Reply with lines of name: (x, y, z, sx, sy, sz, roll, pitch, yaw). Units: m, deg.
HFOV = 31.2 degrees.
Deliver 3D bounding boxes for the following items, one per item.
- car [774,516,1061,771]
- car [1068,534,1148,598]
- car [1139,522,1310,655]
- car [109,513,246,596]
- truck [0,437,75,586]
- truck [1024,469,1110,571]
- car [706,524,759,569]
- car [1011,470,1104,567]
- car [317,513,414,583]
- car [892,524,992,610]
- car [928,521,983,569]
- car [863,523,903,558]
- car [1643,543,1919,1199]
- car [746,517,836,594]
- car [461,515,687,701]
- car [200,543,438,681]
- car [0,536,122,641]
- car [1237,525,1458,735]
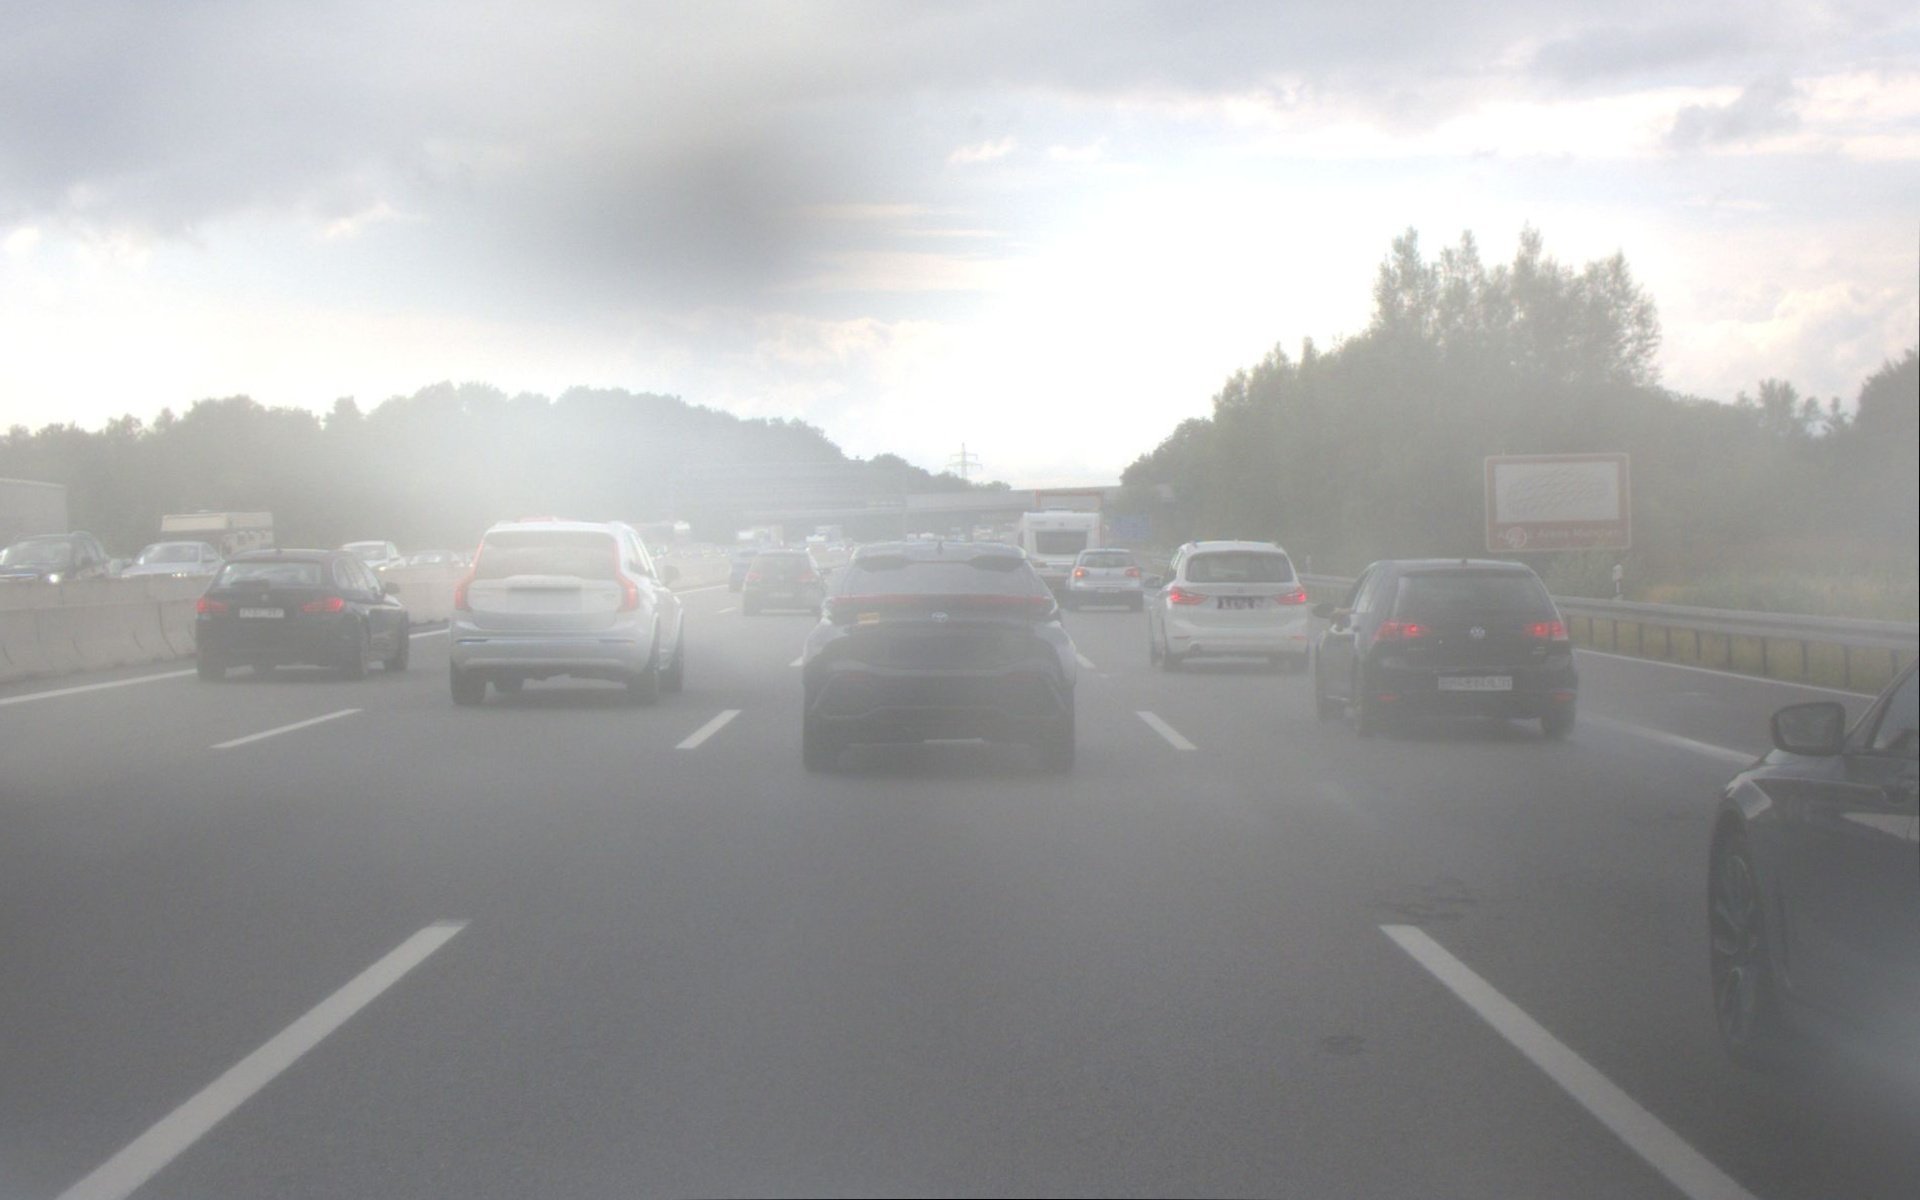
car: (-0.392, 0.227, 24.001, 1.780, 1.607, 4.599, 0, 1, -3)
car: (3.480, -0.824, 81.428, 1.795, 1.472, 4.038, 0, 1, 1)
car: (3.283, -0.186, 43.486, 1.810, 1.593, 4.696, 0, 1, 0)
car: (-18.153, -1.089, 79.951, 1.993, 1.846, 5.078, 0, 2, 0)
truck: (-29.278, -2.585, 100.646, 3.148, 4.298, 13.952, 0, 1, 0)
truck: (3.993, -3.031, 130.586, 3.133, 3.697, 9.848, 0, 1, 1)
car: (-7.613, -1.800, 115.335, 1.563, 1.472, 3.920, 0, 1, -1)
car: (2.948, -2.488, 105.462, 2.567, 2.885, 7.534, 0, 1, 0)
car: (-17.363, -1.539, 100.567, 1.993, 2.007, 4.764, 0, 1, 0)
car: (-0.392, -0.692, 69.401, 1.881, 1.680, 4.001, 0, 1, -2)
car: (-0.174, -1.954, 121.864, 1.881, 1.680, 4.000, 0, 1, -1)
car: (-3.703, -2.875, 165.014, 1.881, 1.680, 4.000, 0, 1, -1)
car: (3.059, 0.624, 7.953, 1.939, 1.486, 4.776, 0, 1, -1)
car: (-3.759, -1.019, 76.975, 1.881, 1.680, 4.000, 0, 1, -1)
car: (-3.725, 0.023, 33.811, 1.781, 1.710, 4.353, 0, 1, -1)
car: (-7.328, 0.092, 39.689, 1.781, 1.476, 4.353, 0, 1, 2)
car: (-17.437, -0.251, 64.888, 1.993, 1.891, 5.187, 0, 1, 0)
car: (3.234, 0.183, 28.979, 1.707, 1.625, 4.456, 0, 1, 6)
